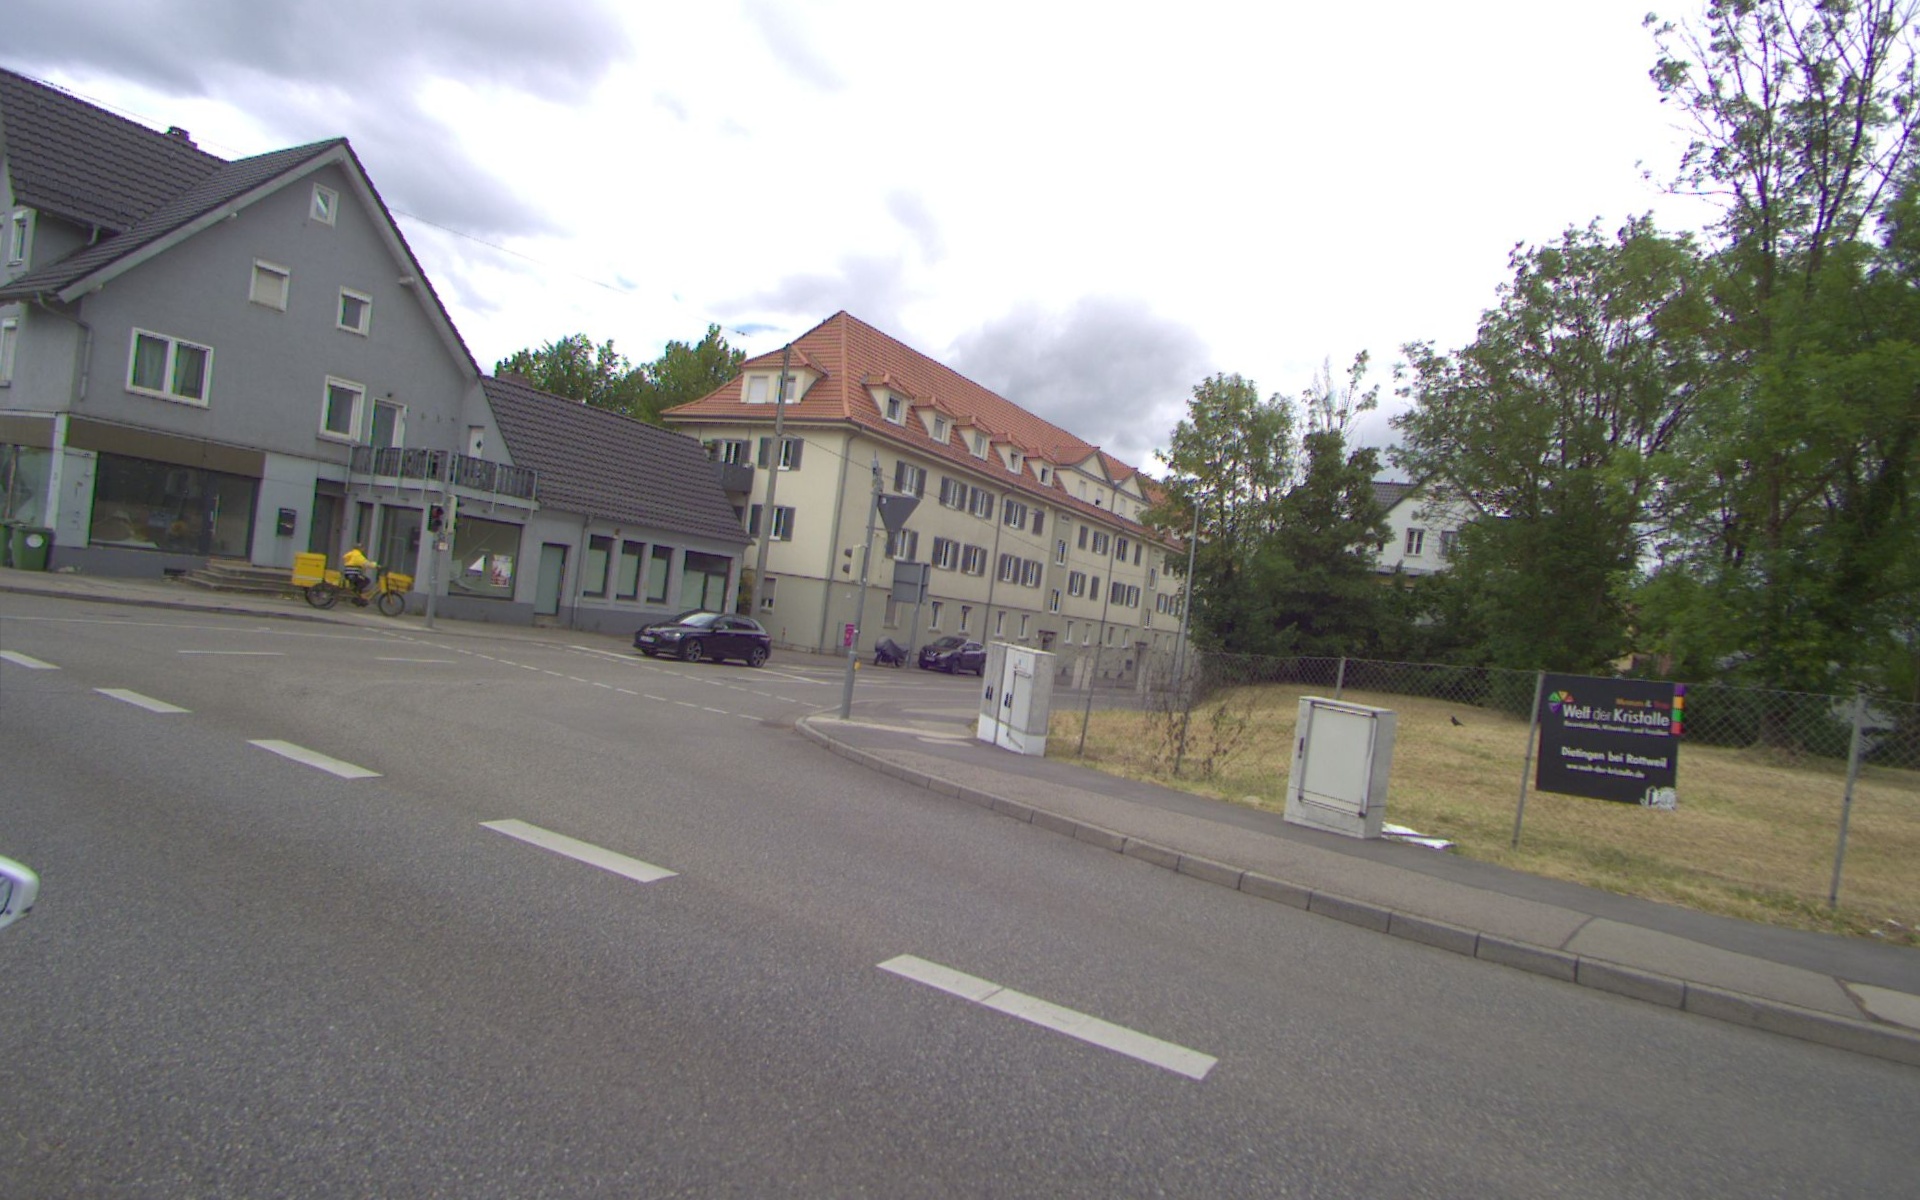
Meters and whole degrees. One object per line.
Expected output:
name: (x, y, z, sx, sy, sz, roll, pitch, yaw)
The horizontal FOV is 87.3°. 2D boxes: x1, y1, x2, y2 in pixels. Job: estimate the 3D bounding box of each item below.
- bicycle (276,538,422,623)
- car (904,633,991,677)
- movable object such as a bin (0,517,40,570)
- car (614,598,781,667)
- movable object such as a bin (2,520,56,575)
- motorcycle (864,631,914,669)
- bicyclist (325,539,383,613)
bicycle: (-14.621, -0.444, 24.147, 2.672, 1.526, 0.950, 11, 1, -45)
car: (-0.518, 2.492, 45.294, 1.966, 1.481, 4.087, 7, -2, 30)
movable object such as a bin: (-21.646, -1.295, 23.014, 0.698, 1.117, 0.609, 6, 0, 30)
car: (-7.182, 0.962, 27.995, 1.876, 1.438, 4.353, 6, -3, 30)
movable object such as a bin: (-20.952, -1.188, 22.643, 0.698, 1.117, 0.627, 6, 0, 30)
motorcycle: (-2.875, 2.049, 41.048, 0.674, 1.332, 2.309, 9, -1, 32)
bicyclist: (-14.599, -0.589, 24.230, 0.931, 1.617, 0.953, 9, -1, -37)
